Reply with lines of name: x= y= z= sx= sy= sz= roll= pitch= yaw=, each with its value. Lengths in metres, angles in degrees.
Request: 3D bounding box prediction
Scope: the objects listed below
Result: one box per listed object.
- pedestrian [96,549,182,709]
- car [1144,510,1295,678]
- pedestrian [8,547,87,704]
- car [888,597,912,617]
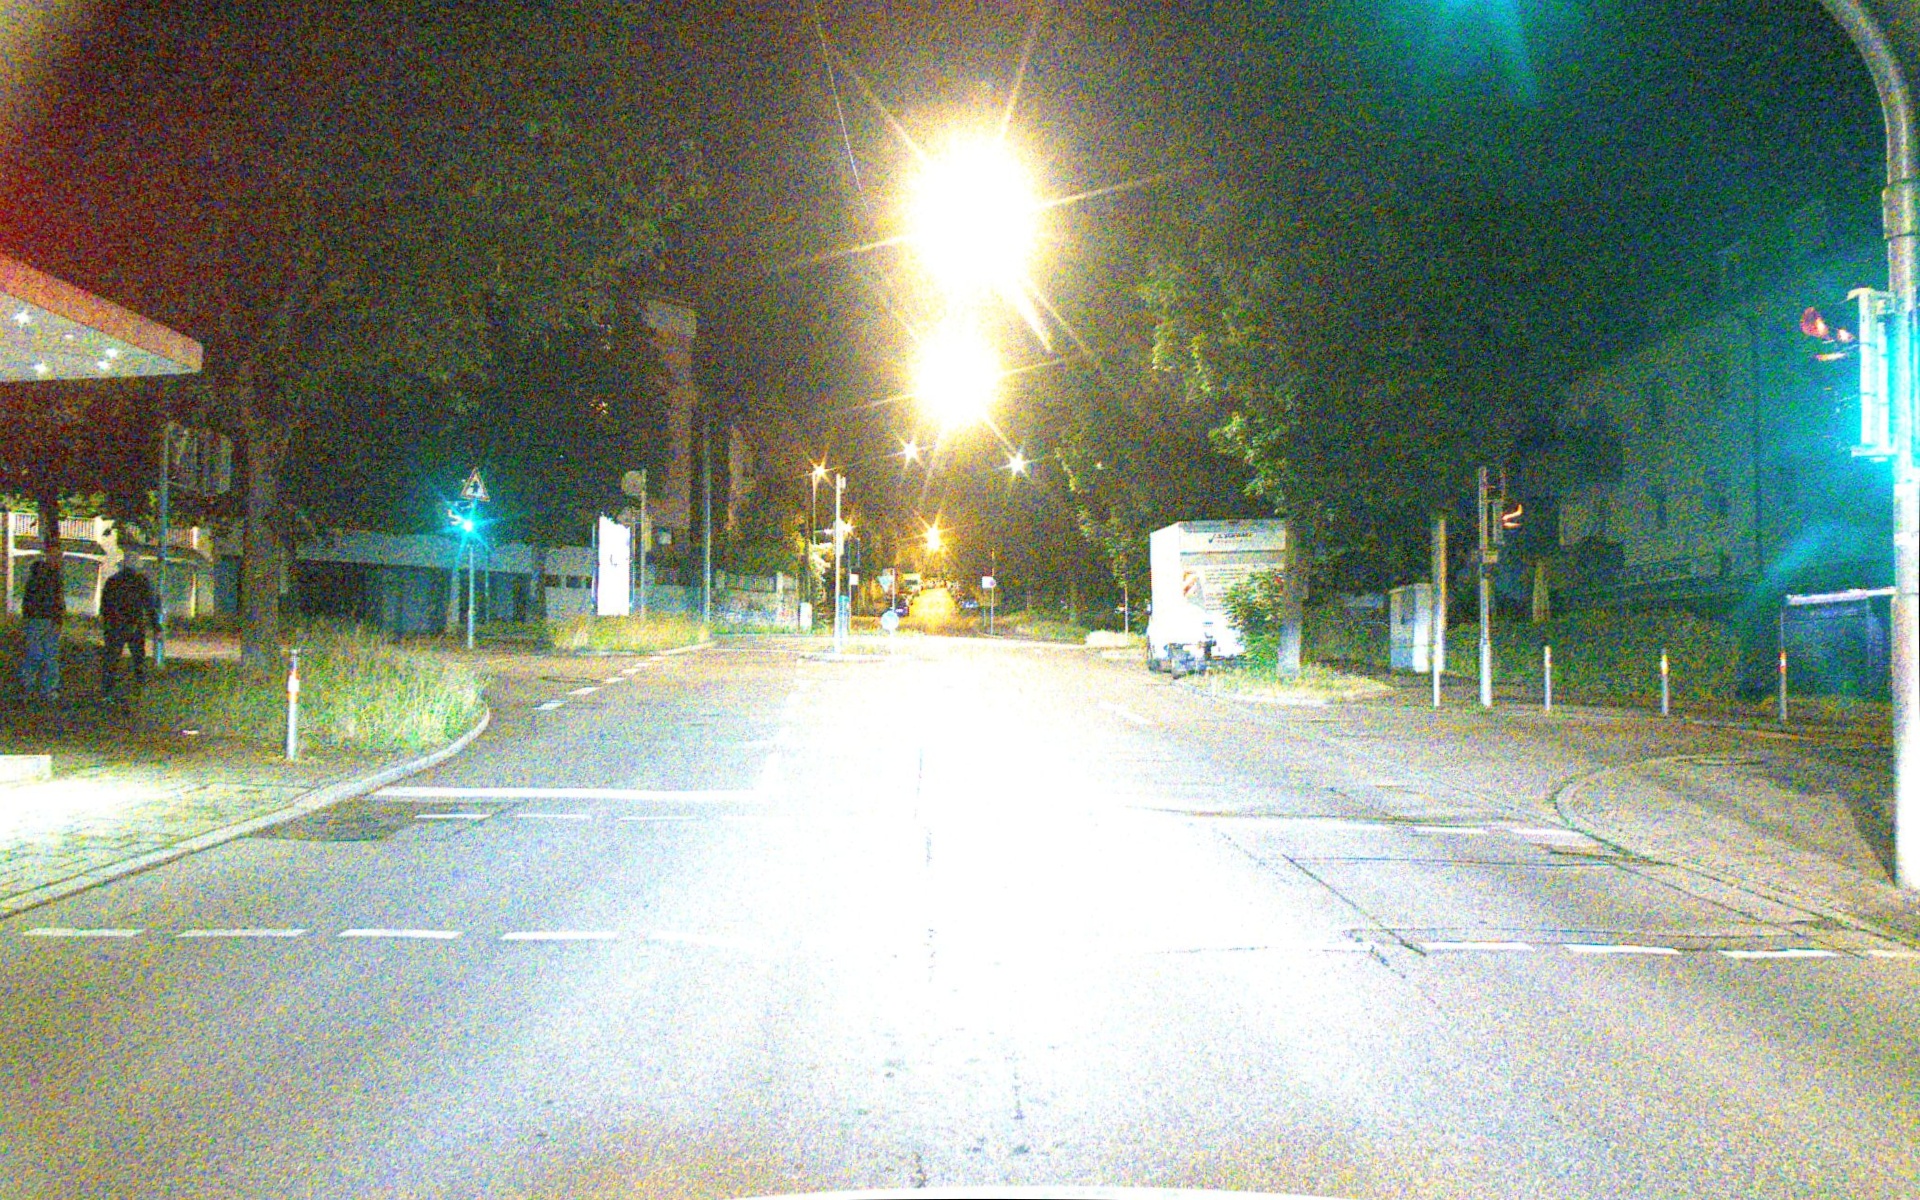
pedestrian: x=-9.623 y=0.335 z=19.409 sx=0.558 sy=1.808 sz=0.737 roll=3 pitch=-1 yaw=-1
car: x=5.251 y=-0.106 z=34.321 sx=2.249 sy=3.147 sz=5.840 roll=-1 pitch=0 yaw=1
pedestrian: x=-10.445 y=0.288 z=18.943 sx=0.558 sy=1.761 sz=0.543 roll=1 pitch=-1 yaw=-1
car: x=-4.839 y=0.548 z=134.346 sx=1.869 sy=1.585 sz=3.903 roll=1 pitch=0 yaw=-1
